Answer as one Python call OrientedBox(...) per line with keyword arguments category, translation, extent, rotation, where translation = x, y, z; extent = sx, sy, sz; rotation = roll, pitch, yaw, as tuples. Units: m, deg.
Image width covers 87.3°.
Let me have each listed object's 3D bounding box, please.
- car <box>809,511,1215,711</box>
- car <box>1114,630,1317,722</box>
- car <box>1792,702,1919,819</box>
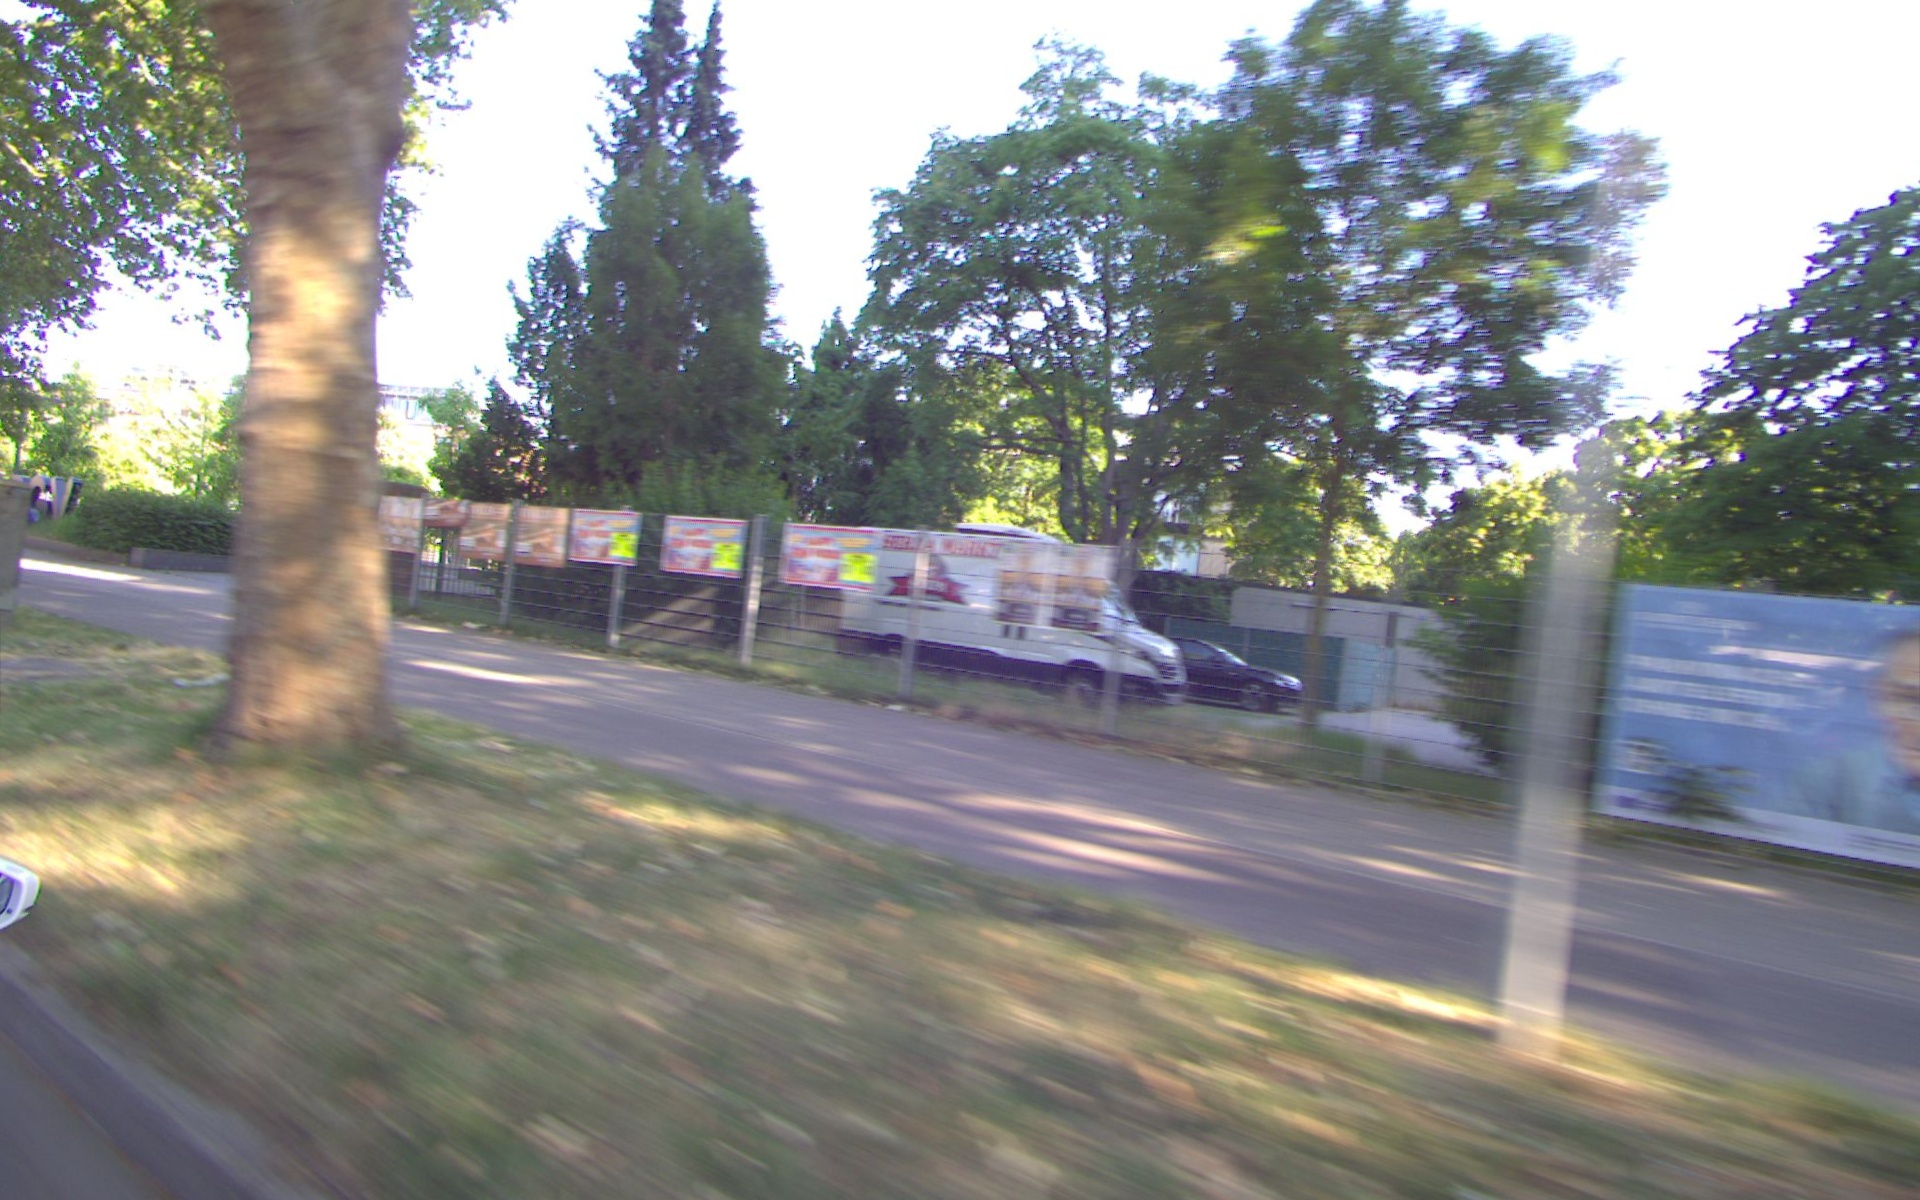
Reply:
OrientedBox(category="car", translation=(0.677, 0.081, 16.447), extent=(6.245, 2.527, 1.997), rotation=(6, -3, 34))
OrientedBox(category="car", translation=(5.708, 1.694, 22.525), extent=(3.931, 1.469, 2.000), rotation=(6, -3, 28))
OrientedBox(category="car", translation=(14.500, 2.461, 14.086), extent=(3.931, 1.469, 2.000), rotation=(6, -3, 28))
